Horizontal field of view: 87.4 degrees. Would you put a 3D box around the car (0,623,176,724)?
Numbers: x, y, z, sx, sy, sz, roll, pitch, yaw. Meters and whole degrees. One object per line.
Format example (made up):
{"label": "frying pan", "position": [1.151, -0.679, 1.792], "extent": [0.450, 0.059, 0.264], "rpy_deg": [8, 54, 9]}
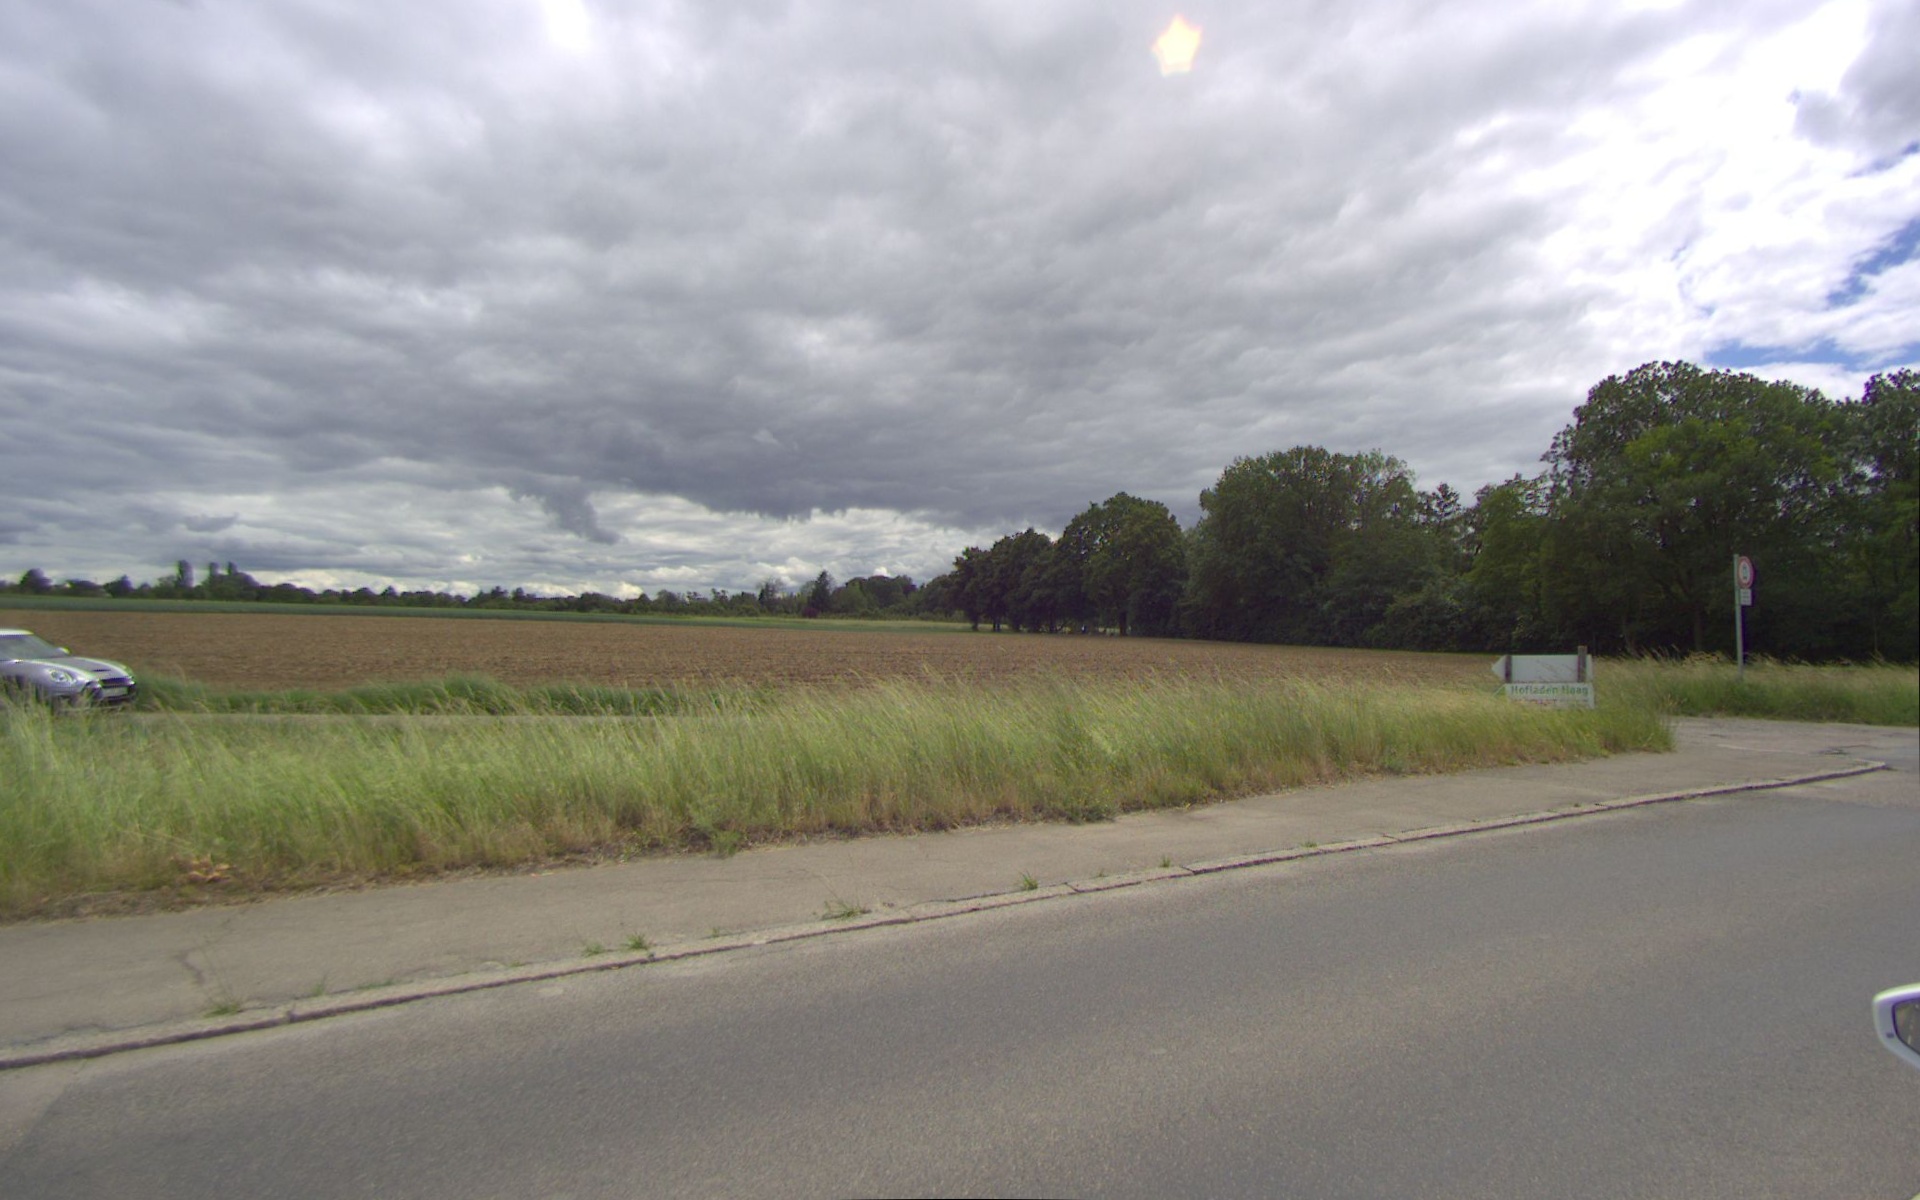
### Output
{"label": "car", "position": [-15.301, 1.118, 16.043], "extent": [3.923, 1.473, 1.975], "rpy_deg": [1, -1, -3]}
